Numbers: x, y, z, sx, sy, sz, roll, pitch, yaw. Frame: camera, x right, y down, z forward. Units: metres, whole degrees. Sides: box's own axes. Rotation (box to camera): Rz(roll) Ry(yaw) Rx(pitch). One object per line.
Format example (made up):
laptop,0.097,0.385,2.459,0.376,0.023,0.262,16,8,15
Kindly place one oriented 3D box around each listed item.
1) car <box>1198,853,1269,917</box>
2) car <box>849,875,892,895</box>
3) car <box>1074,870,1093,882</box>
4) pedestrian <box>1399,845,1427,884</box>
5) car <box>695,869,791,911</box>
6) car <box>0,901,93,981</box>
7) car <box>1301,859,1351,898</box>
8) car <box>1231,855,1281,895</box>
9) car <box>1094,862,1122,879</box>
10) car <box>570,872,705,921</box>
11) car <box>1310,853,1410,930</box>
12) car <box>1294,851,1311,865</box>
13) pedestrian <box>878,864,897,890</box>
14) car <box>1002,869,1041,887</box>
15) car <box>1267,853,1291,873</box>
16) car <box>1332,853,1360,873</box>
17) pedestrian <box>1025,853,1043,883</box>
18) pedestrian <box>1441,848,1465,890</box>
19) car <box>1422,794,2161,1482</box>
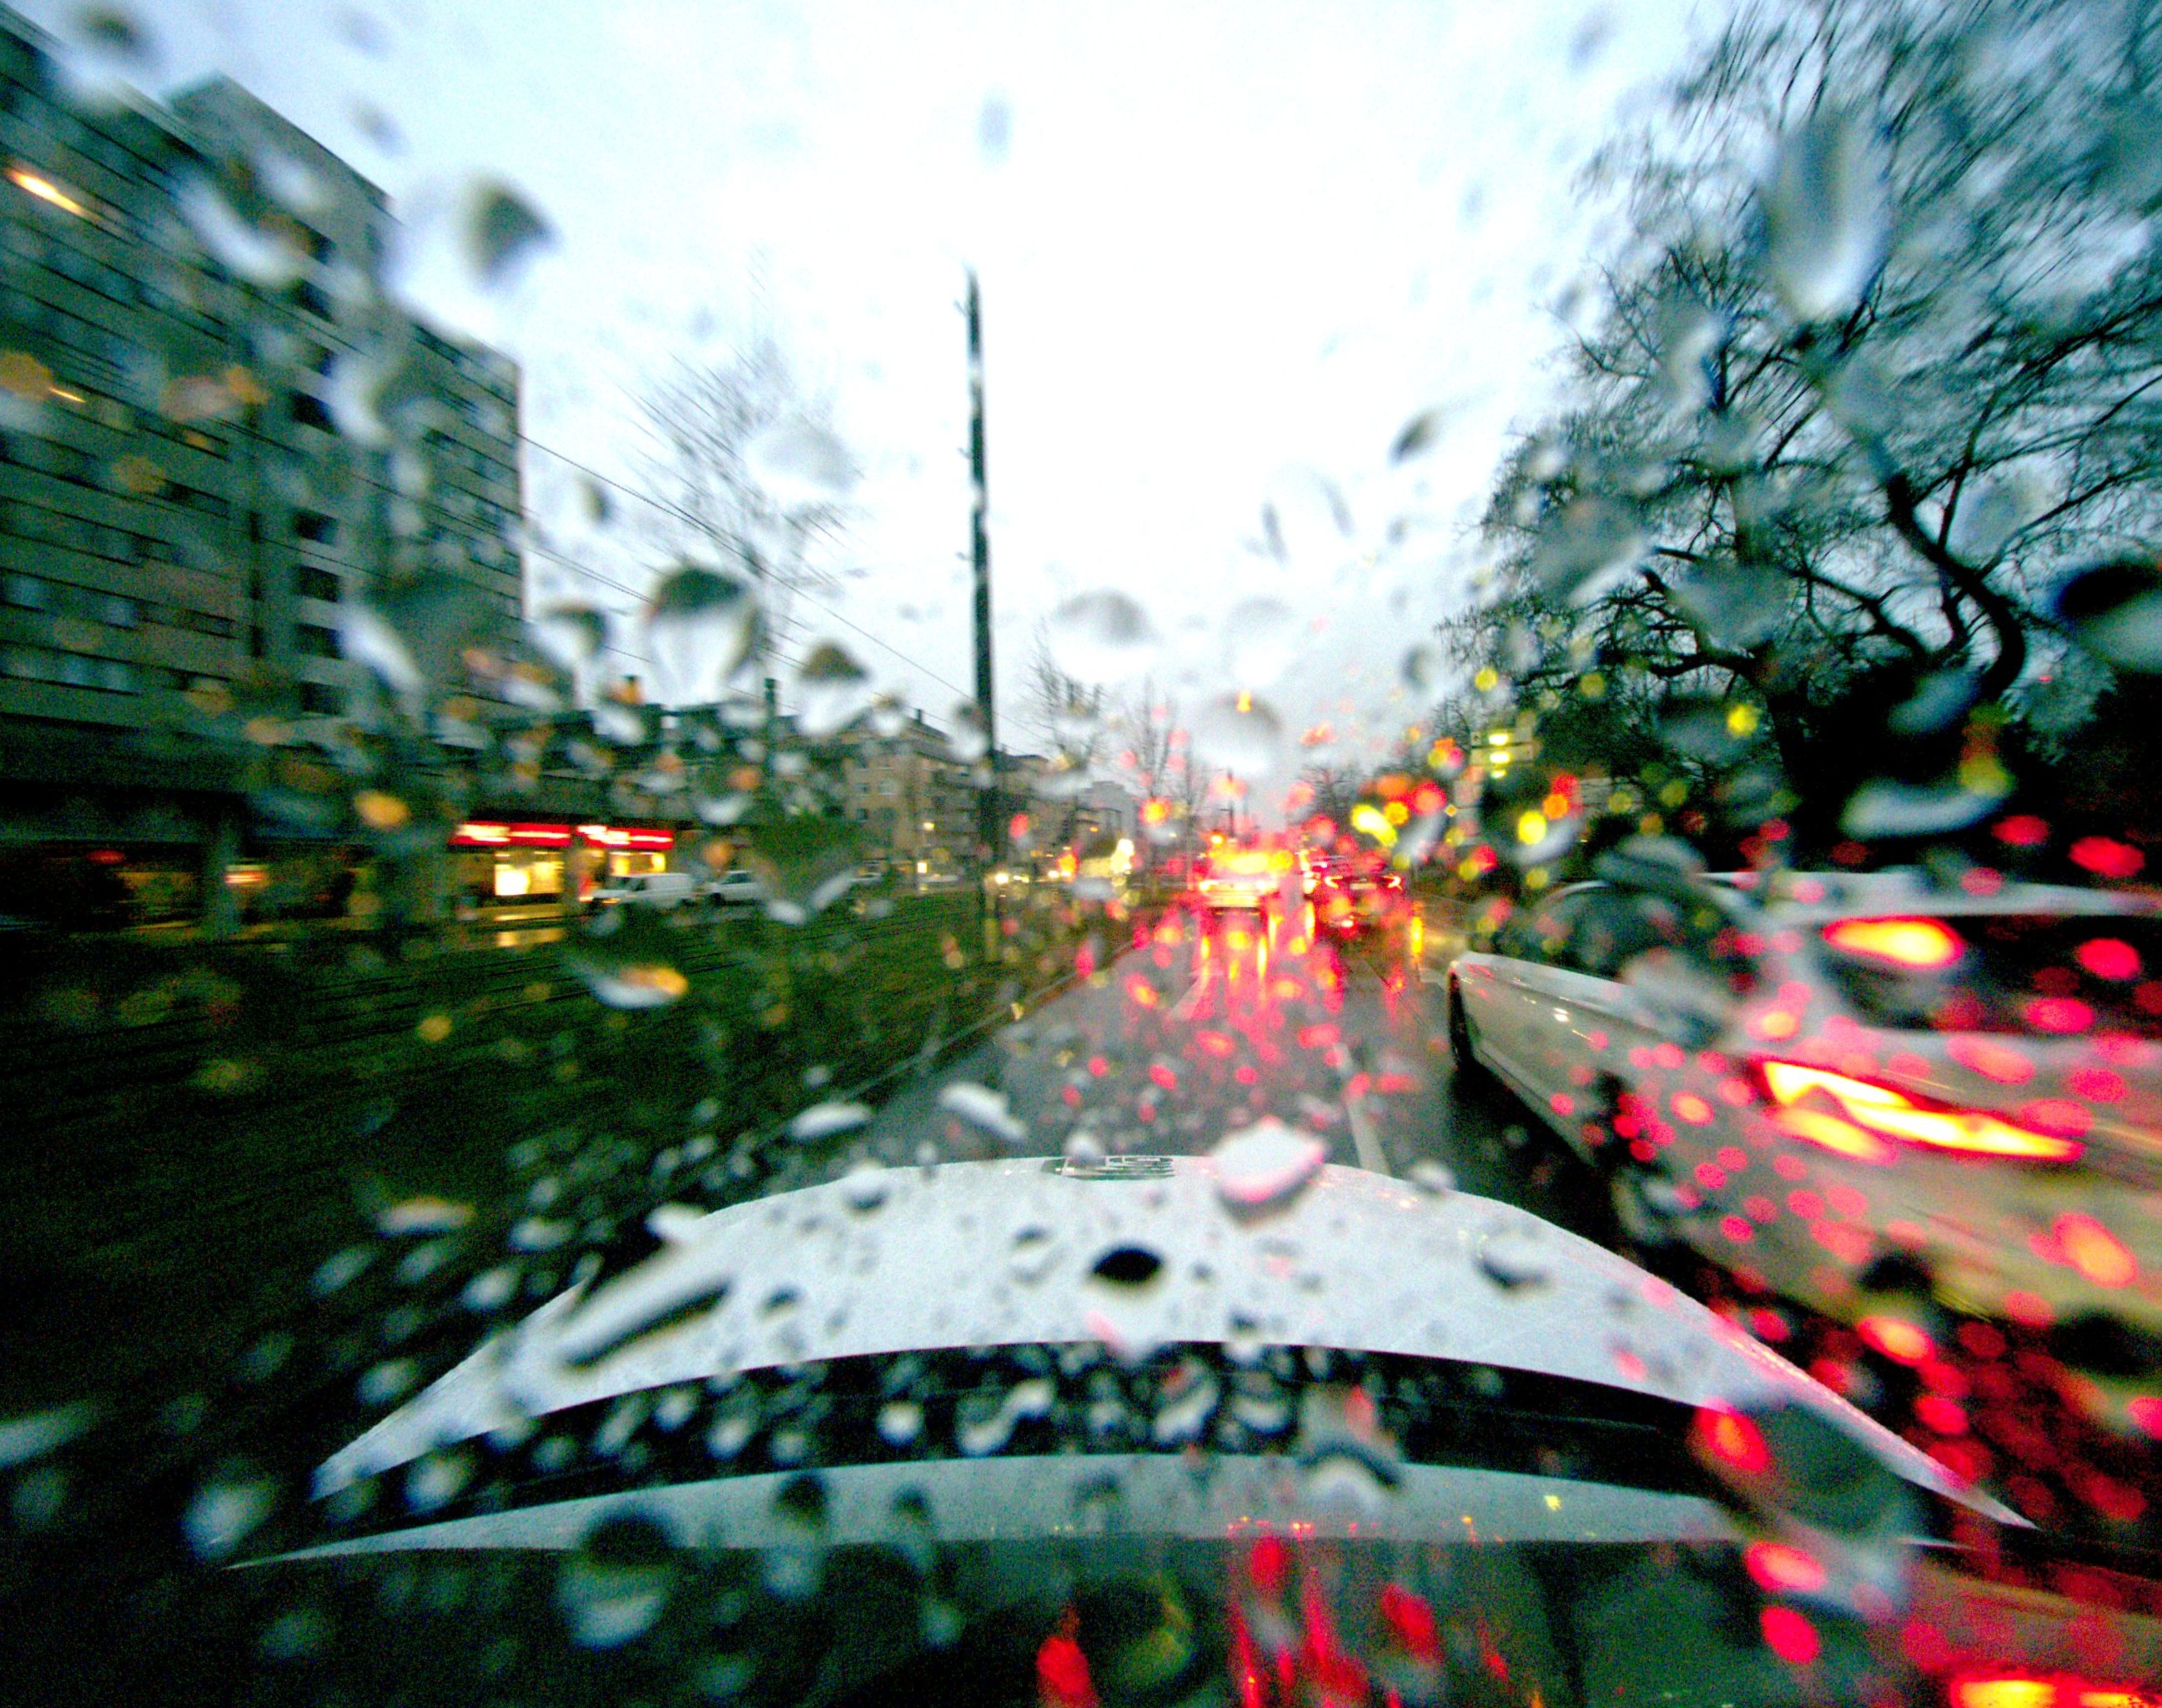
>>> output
car,4.165,0.769,21.915,1.681,1.533,4.014,-1,0,12
car,-21.432,3.112,83.045,3.729,1.942,1.845,0,-1,6
car,0.312,2.480,93.695,1.681,1.278,4.157,-2,-1,8
pedestrian,17.475,0.570,42.888,0.958,2.014,1.005,-2,-1,-8
car,-19.361,2.003,46.671,4.848,2.244,1.980,1,-1,-32
car,-26.369,2.006,18.739,4.140,1.693,1.973,0,-1,-18
car,9.505,0.929,31.794,1.733,1.433,3.746,0,-1,15
car,7.215,0.828,33.314,1.786,1.466,4.603,-2,-1,14
car,2.641,1.541,78.577,1.980,1.602,4.014,0,-1,13
car,-20.330,1.875,37.677,1.977,2.046,5.591,0,-1,19
car,6.146,0.785,18.334,1.787,1.511,3.910,-2,-1,14
car,24.810,0.469,91.453,1.725,1.419,4.162,-2,-1,14
pedestrian,-15.312,1.820,64.469,1.269,2.014,1.004,-2,-1,-10
car,-4.695,1.871,65.052,1.846,1.332,4.331,0,-1,14
car,15.697,0.696,64.490,1.725,1.419,4.410,-2,-1,14
car,19.886,0.658,61.267,1.725,1.419,3.717,-2,-1,14
pedestrian,-3.234,0.935,56.118,1.007,2.014,0.956,-1,-1,-19
pedestrian,18.410,0.744,40.314,0.951,2.014,1.012,-2,-1,19
car,3.179,0.646,4.224,1.849,1.556,4.957,-2,-1,14
